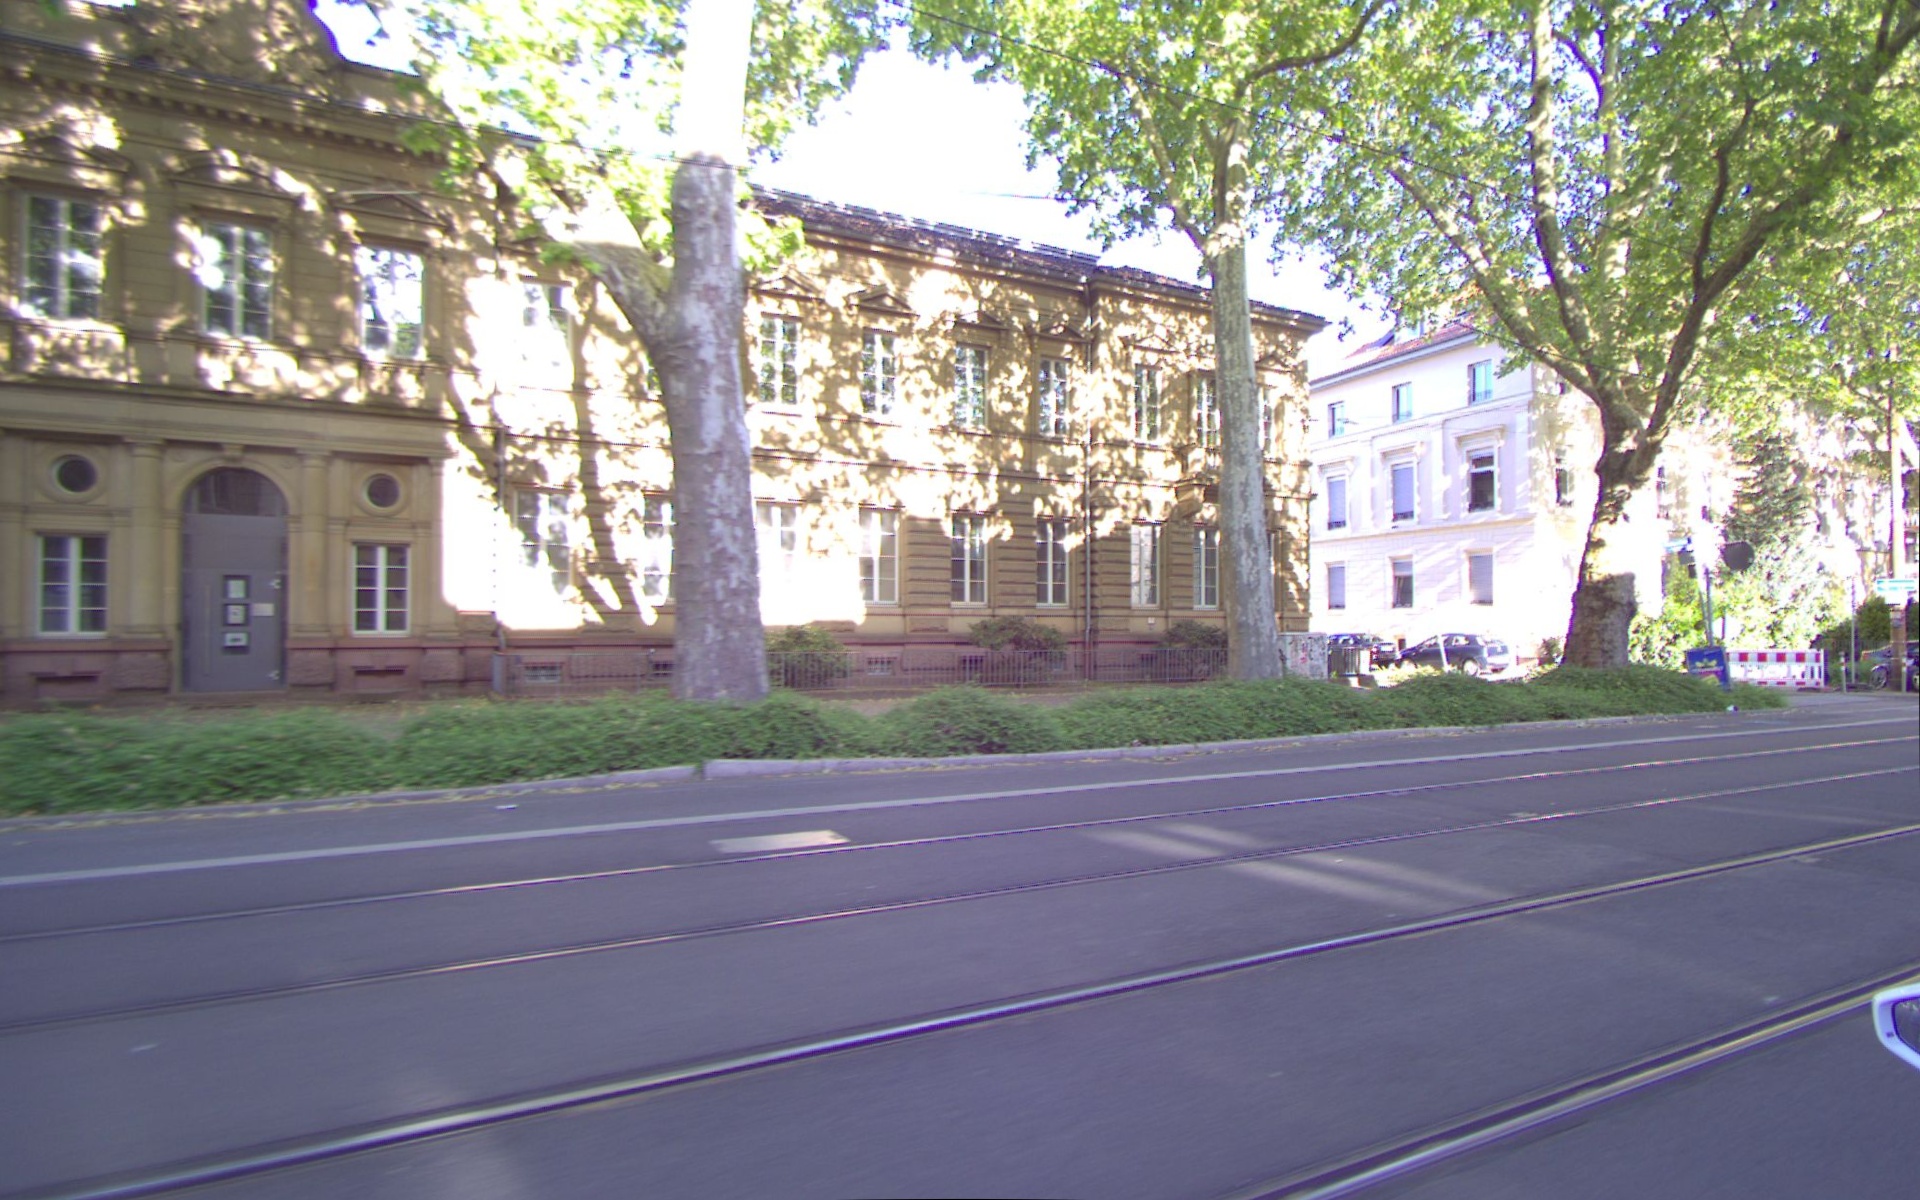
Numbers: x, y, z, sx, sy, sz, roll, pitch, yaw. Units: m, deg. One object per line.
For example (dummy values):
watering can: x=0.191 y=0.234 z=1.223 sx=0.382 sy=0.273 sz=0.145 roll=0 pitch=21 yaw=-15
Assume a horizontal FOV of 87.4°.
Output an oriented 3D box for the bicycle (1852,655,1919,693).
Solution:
bicycle: x=24.686 y=1.957 z=26.735 sx=2.003 sy=0.953 sz=0.540 roll=1 pitch=-1 yaw=-21

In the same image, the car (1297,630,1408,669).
car: x=15.418 y=1.930 z=39.631 sx=1.673 sy=1.437 sz=3.905 roll=-1 pitch=-2 yaw=-27

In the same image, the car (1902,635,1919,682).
car: x=31.895 y=1.853 z=30.919 sx=1.778 sy=1.472 sz=3.905 roll=1 pitch=-2 yaw=-28

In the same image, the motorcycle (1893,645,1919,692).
motorcycle: x=25.183 y=1.756 z=25.763 sx=2.355 sy=1.162 sz=0.883 roll=1 pitch=-1 yaw=-21

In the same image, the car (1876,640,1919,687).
car: x=29.765 y=1.930 z=29.460 sx=1.824 sy=1.350 sz=3.905 roll=2 pitch=-1 yaw=-27

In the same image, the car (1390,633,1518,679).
car: x=17.342 y=1.955 z=35.453 sx=1.673 sy=1.437 sz=3.763 roll=-2 pitch=-1 yaw=-28

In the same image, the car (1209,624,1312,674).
car: x=13.341 y=2.150 z=44.919 sx=1.987 sy=2.029 sz=4.396 roll=-2 pitch=-1 yaw=-24
